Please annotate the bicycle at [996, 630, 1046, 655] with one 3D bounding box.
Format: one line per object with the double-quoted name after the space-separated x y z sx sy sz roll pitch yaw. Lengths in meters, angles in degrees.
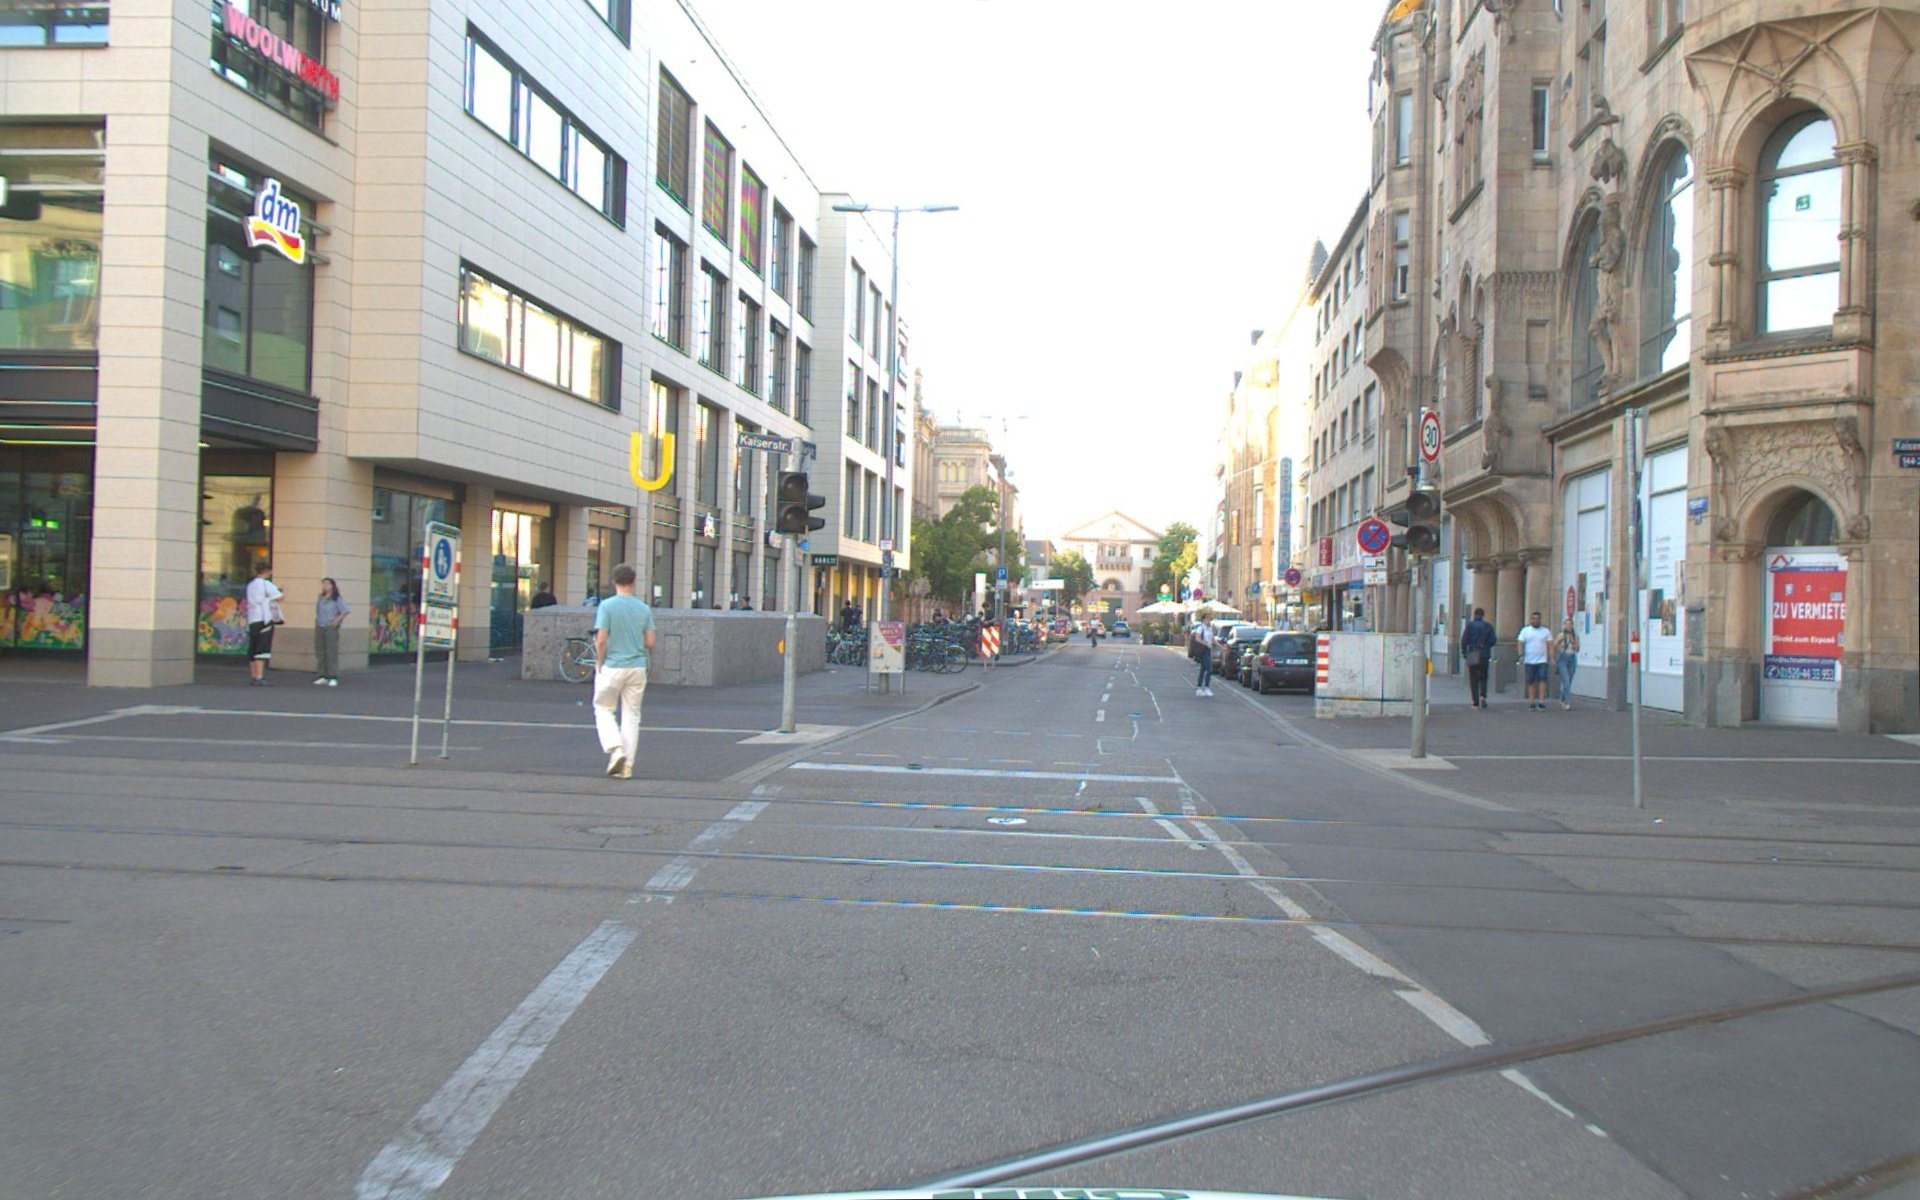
2.681 1.853 72.711 2.102 1.047 0.641 1 -1 8 "bicycle"

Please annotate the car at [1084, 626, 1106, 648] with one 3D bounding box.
13.122 3.573 160.329 1.951 1.937 4.002 2 0 5 "car"

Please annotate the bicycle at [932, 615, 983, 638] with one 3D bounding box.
-0.102 1.143 71.319 2.102 0.970 0.641 1 -1 8 "bicycle"

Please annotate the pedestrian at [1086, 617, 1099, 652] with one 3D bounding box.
7.058 1.816 88.031 0.586 1.855 0.452 1 -1 17 "pedestrian"

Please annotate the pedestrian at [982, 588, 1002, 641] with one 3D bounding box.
1.121 0.516 58.458 0.644 1.855 0.527 1 -1 -4 "pedestrian"

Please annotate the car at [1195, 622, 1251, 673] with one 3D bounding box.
9.750 1.735 61.584 1.761 1.799 4.400 0 -1 5 "car"

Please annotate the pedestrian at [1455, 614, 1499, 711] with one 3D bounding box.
9.271 1.108 29.678 0.612 1.719 0.671 1 -1 4 "pedestrian"

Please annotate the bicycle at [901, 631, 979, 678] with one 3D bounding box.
-0.510 1.416 43.078 1.940 1.141 0.554 3 -1 -23 "bicycle"

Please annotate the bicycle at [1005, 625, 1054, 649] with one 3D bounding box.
3.085 1.647 73.561 2.102 1.047 0.641 1 -1 8 "bicycle"

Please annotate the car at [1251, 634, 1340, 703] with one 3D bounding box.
7.800 1.556 38.714 1.643 1.449 3.675 2 0 5 "car"

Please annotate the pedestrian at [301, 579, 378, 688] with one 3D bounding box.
-9.988 0.536 26.647 0.750 1.688 0.816 2 -1 20 "pedestrian"

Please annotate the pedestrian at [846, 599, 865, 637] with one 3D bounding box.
-4.657 0.807 73.723 0.715 1.649 0.662 1 -1 5 "pedestrian"

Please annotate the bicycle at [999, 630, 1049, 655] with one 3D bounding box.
2.769 1.852 71.968 2.102 1.047 0.641 1 -1 8 "bicycle"

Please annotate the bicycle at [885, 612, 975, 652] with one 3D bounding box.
-0.972 1.044 53.857 2.844 1.277 0.799 1 -1 -20 "bicycle"

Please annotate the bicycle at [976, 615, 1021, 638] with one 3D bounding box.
1.871 1.289 79.860 2.102 1.047 0.641 1 -1 8 "bicycle"

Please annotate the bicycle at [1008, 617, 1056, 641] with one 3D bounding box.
3.272 1.320 75.363 2.102 1.047 0.641 1 -1 8 "bicycle"

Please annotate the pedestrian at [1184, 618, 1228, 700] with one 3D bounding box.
5.324 1.264 35.864 0.817 1.751 0.681 1 -1 -2 "pedestrian"

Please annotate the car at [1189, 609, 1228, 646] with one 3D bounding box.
11.608 1.287 77.443 1.643 1.695 3.675 0 -1 5 "car"

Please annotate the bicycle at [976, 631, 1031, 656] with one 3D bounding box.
1.707 1.715 65.320 2.102 0.970 0.641 1 -1 8 "bicycle"

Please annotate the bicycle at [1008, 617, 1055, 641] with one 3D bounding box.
3.291 1.326 76.091 2.102 1.047 0.641 1 -1 8 "bicycle"

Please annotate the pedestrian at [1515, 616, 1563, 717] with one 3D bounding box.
10.048 1.143 28.707 0.612 1.719 0.671 1 -1 4 "pedestrian"

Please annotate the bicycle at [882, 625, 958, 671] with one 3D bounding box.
-1.060 1.288 43.905 1.940 1.141 0.554 3 -1 -23 "bicycle"

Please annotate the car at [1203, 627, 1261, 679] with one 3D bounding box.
9.069 1.735 55.408 1.643 1.641 4.030 0 -1 5 "car"

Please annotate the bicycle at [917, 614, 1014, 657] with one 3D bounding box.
0.170 1.071 50.447 2.844 1.277 0.799 1 -1 -20 "bicycle"

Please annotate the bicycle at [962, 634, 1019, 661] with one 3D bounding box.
1.152 1.785 62.236 2.102 0.970 0.641 1 -1 8 "bicycle"

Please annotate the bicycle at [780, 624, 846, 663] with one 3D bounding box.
-4.591 1.366 51.793 1.940 1.141 0.554 3 -1 -23 "bicycle"

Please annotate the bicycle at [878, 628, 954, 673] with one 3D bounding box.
-1.183 1.359 44.625 1.940 1.141 0.554 3 -1 -23 "bicycle"

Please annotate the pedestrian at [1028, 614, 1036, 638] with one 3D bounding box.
4.623 1.650 106.200 0.538 1.512 0.566 1 -1 4 "pedestrian"

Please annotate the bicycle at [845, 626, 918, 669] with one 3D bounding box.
-2.202 1.329 46.319 1.940 1.141 0.554 3 -1 -23 "bicycle"

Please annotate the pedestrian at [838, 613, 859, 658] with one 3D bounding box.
-4.113 1.303 61.063 0.665 1.649 0.574 1 -1 5 "pedestrian"

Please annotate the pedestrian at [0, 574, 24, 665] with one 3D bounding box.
-16.684 0.331 28.438 0.561 1.553 0.791 2 -1 18 "pedestrian"

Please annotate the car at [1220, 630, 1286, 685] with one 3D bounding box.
8.691 1.683 49.279 1.643 1.574 3.675 0 -1 5 "car"

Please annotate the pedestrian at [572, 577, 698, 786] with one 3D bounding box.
-2.907 0.714 14.758 0.855 1.792 0.761 3 -1 -28 "pedestrian"

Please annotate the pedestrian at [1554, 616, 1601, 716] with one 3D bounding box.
10.789 1.138 28.904 0.612 1.719 0.626 1 -1 4 "pedestrian"

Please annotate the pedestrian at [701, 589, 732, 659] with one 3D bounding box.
-5.940 0.591 40.393 0.587 1.675 0.546 2 -1 3 "pedestrian"

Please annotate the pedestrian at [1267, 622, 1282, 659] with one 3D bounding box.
15.466 1.978 81.348 0.630 1.777 0.671 1 -1 4 "pedestrian"

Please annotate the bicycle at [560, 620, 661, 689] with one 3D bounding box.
-6.196 0.963 29.346 1.660 1.141 0.451 2 -1 8 "bicycle"

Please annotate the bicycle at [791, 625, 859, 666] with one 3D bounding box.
-4.045 1.376 49.684 1.940 1.141 0.554 3 -1 -23 "bicycle"

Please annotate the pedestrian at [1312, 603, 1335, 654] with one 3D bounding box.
12.292 0.964 55.929 0.630 1.719 0.671 1 -1 4 "pedestrian"

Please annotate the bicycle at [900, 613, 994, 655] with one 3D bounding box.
-0.396 1.054 51.596 2.844 1.277 0.799 1 -1 -20 "bicycle"

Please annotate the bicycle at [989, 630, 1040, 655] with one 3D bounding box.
2.353 1.829 71.216 2.102 1.047 0.641 1 -1 8 "bicycle"

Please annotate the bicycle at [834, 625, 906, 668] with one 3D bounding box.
-2.538 1.315 46.888 1.940 1.141 0.554 3 -1 -23 "bicycle"

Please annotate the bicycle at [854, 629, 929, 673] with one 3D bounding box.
-1.885 1.407 45.556 1.940 1.141 0.554 3 -1 -23 "bicycle"

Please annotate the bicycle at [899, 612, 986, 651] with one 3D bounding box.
-0.585 1.077 56.279 2.844 1.277 0.799 1 -1 -20 "bicycle"

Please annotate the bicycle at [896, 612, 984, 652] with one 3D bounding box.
-0.672 1.067 55.308 2.844 1.277 0.799 1 -1 -20 "bicycle"

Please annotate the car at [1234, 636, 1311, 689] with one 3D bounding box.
8.295 1.635 44.178 1.643 1.313 4.049 0 -1 5 "car"

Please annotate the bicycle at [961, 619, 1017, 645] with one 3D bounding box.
1.144 1.255 64.321 2.102 0.970 0.641 1 -1 8 "bicycle"

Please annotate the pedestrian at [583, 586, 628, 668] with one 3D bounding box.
-7.938 0.598 37.066 0.765 1.782 0.600 2 -1 3 "pedestrian"

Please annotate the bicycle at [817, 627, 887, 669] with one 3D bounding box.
-3.173 1.407 48.540 1.940 1.141 0.554 3 -1 -23 "bicycle"

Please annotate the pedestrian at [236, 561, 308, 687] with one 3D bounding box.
-10.647 0.369 25.599 0.561 1.887 0.816 2 -1 18 "pedestrian"

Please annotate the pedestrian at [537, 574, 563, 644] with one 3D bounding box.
-9.098 0.206 36.682 0.381 1.541 0.506 1 -1 5 "pedestrian"

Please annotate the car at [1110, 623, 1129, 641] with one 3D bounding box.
17.341 3.471 180.012 1.951 1.937 4.002 2 0 5 "car"

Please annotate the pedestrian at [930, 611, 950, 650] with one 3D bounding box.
-0.788 1.227 66.273 0.735 1.556 0.485 1 -1 5 "pedestrian"

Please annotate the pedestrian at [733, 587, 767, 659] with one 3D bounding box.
-5.149 0.561 40.519 0.666 1.710 0.600 2 -1 3 "pedestrian"

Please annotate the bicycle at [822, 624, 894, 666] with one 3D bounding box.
-2.926 1.291 47.496 1.940 1.141 0.554 3 -1 -23 "bicycle"

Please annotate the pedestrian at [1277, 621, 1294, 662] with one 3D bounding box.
14.637 1.874 74.336 0.630 1.831 0.671 1 -1 4 "pedestrian"

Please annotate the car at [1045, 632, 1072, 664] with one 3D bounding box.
6.601 3.206 110.602 1.674 2.049 4.002 1 0 5 "car"

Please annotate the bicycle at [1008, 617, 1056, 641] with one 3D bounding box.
3.223 1.311 74.326 2.102 1.047 0.641 1 -1 8 "bicycle"

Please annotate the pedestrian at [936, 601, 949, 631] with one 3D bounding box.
-0.984 0.902 92.226 0.665 1.649 0.574 1 -1 5 "pedestrian"
